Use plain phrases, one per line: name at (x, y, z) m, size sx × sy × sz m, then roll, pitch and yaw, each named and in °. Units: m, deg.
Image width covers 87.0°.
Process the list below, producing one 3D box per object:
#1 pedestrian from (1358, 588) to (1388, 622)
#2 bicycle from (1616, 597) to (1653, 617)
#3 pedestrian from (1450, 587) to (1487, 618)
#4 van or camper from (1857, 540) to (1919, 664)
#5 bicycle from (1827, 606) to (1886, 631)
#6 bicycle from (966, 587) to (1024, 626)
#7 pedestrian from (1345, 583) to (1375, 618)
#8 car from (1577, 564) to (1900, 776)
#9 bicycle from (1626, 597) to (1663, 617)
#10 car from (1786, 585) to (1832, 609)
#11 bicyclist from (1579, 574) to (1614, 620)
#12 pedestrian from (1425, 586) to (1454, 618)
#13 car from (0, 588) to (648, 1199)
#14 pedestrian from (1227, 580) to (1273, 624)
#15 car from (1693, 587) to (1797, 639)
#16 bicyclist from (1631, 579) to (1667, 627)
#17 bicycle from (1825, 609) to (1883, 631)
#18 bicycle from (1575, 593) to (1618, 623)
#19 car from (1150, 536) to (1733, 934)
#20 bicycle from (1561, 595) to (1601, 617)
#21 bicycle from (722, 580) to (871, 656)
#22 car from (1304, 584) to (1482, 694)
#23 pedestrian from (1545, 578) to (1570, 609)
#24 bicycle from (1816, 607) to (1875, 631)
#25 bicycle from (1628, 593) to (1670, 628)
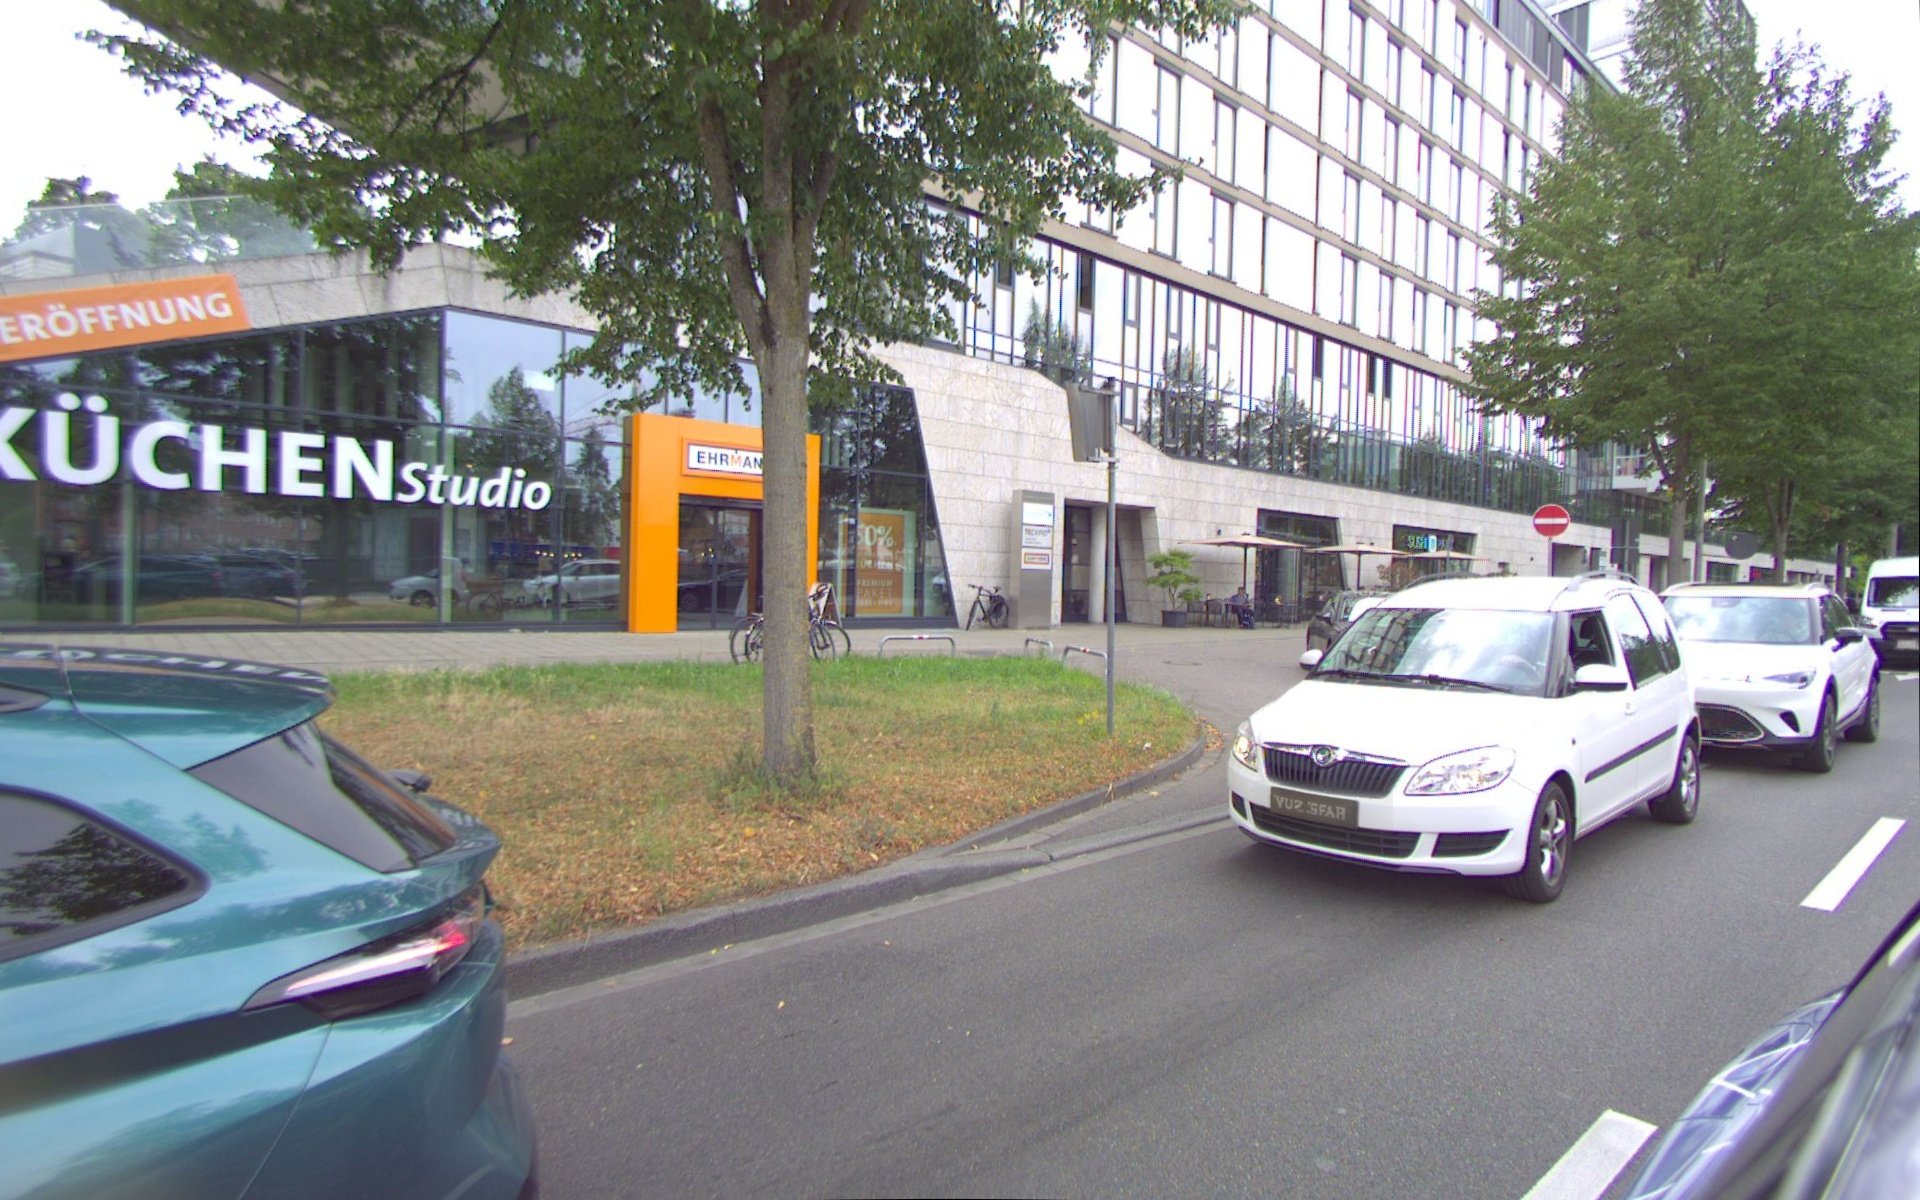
pedestrian at (15.057, 0.161, 36.938) m, size 0.745 × 1.207 × 0.720 m, roll 1°, pitch 1°, yaw -39°
bicycle at (36.805, 0.376, 55.231) m, size 0.524 × 1.039 × 1.599 m, roll 0°, pitch 2°, yaw -43°
pedestrian at (20.523, 0.087, 40.854) m, size 1.083 × 1.207 × 0.776 m, roll 1°, pitch 1°, yaw -26°
van or camper at (22.040, 0.057, 22.727) m, size 6.230 × 2.540 × 2.181 m, roll 0°, pitch 0°, yaw -42°
bicycle at (40.453, 0.850, 45.677) m, size 0.693 × 1.079 × 1.931 m, roll 1°, pitch -2°, yaw -43°
bicycle at (0.872, 0.162, 25.136) m, size 1.467 × 0.921 × 0.519 m, roll 0°, pitch 1°, yaw -41°
pedestrian at (14.335, 0.015, 36.309) m, size 0.746 × 1.207 × 0.720 m, roll 1°, pitch 1°, yaw -42°
car at (7.798, 0.561, 10.010) m, size 3.952 × 1.677 × 1.782 m, roll 0°, pitch 0°, yaw -41°
bicycle at (38.305, 0.383, 56.617) m, size 0.524 × 1.039 × 1.599 m, roll 0°, pitch 2°, yaw -43°
car at (61.812, -0.208, 73.671) m, size 4.166 × 1.607 × 1.862 m, roll 0°, pitch 4°, yaw -41°
bicyclist at (22.777, -0.106, 36.194) m, size 0.972 × 1.601 × 0.726 m, roll 0°, pitch 3°, yaw -39°
pedestrian at (19.159, 0.077, 40.438) m, size 0.743 × 1.207 × 0.723 m, roll 1°, pitch 1°, yaw -19°
car at (-2.653, 0.702, 0.840) m, size 4.239 × 1.450 × 1.789 m, roll 0°, pitch 0°, yaw -44°
pedestrian at (8.511, 0.065, 29.731) m, size 0.932 × 1.243 × 0.900 m, roll 1°, pitch 1°, yaw -36°
car at (26.027, 0.406, 33.504) m, size 4.514 × 1.571 × 1.941 m, roll 1°, pitch 1°, yaw -42°
bicyclist at (23.615, 0.087, 34.668) m, size 0.972 × 1.601 × 0.726 m, roll 0°, pitch 3°, yaw -41°
bicycle at (39.936, 0.906, 45.235) m, size 0.602 × 0.963 × 1.862 m, roll 1°, pitch -2°, yaw -43°
bicycle at (22.818, 0.287, 36.282) m, size 1.970 × 1.055 × 0.675 m, roll 0°, pitch 1°, yaw -38°
car at (3.140, 0.545, 6.231) m, size 3.953 × 1.677 × 1.782 m, roll 0°, pitch 2°, yaw -41°
bicycle at (31.144, 0.295, 50.778) m, size 1.584 × 1.039 × 0.606 m, roll 3°, pitch 2°, yaw 23°
bicycle at (-2.241, 0.231, 14.090) m, size 0.630 × 0.968 × 2.074 m, roll 2°, pitch 2°, yaw 44°
car at (7.000, 0.506, 16.886) m, size 1.919 × 1.494 × 4.850 m, roll 2°, pitch 1°, yaw 14°
pedestrian at (28.353, -0.300, 48.022) m, size 0.707 × 1.424 × 0.759 m, roll 1°, pitch 1°, yaw -33°
bicycle at (38.337, 0.846, 43.845) m, size 0.564 × 1.008 × 1.862 m, roll 1°, pitch -2°, yaw -43°
bicycle at (23.647, 0.361, 34.713) m, size 1.972 × 1.157 × 0.674 m, roll 1°, pitch 2°, yaw -42°
